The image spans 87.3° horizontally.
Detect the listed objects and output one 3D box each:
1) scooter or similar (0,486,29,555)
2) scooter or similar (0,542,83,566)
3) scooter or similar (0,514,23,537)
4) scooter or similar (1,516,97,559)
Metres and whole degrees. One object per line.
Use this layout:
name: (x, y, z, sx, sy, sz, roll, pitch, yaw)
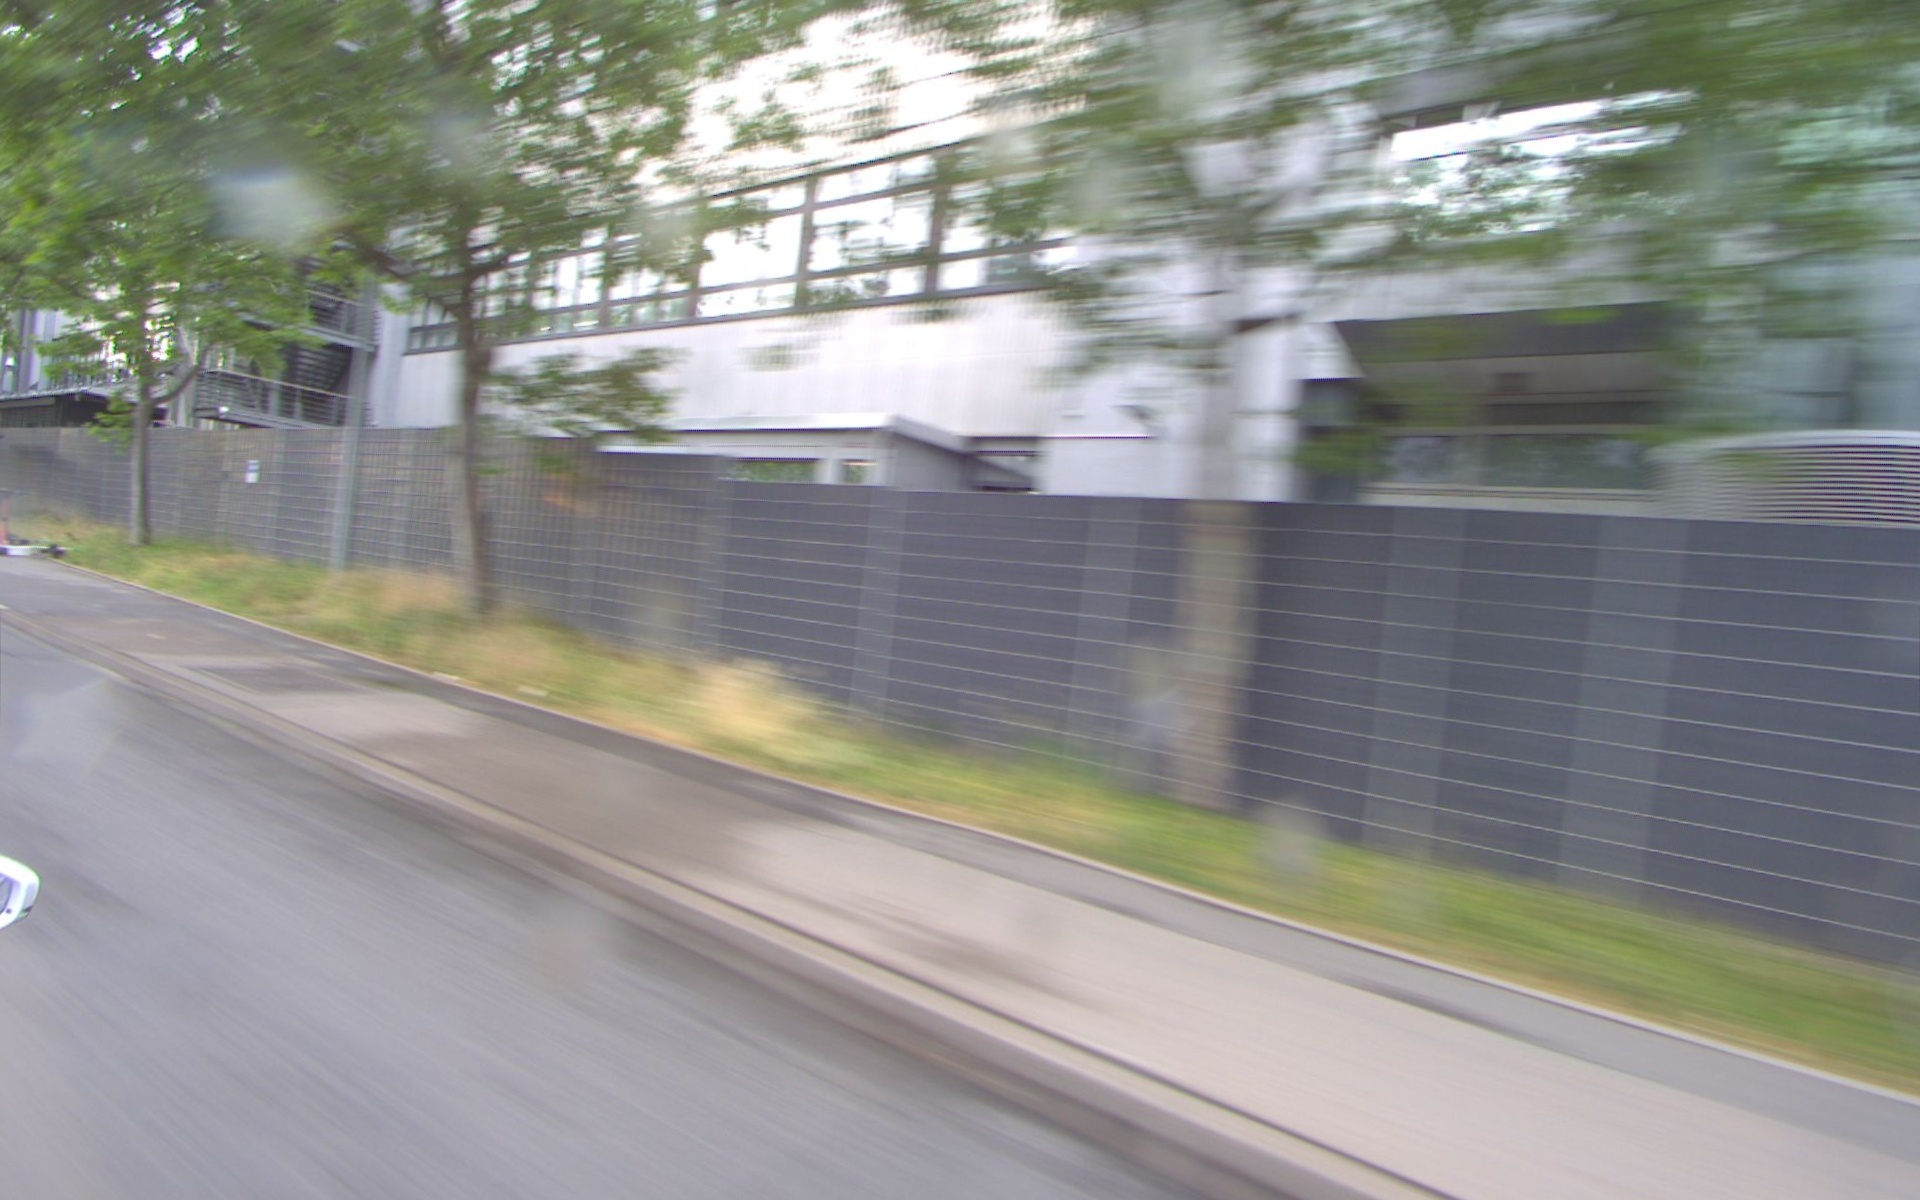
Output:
scooter or similar: (-18.453, -1.557, 19.453, 1.057, 1.242, 0.388, 8, 2, 36)
scooter or similar: (-17.246, -0.862, 18.714, 1.495, 0.249, 0.655, 7, 0, 13)
scooter or similar: (-24.828, -1.961, 25.466, 1.553, 0.526, 0.636, 7, 1, -39)
scooter or similar: (-19.703, -1.344, 21.774, 1.496, 0.723, 0.655, 7, 1, 4)
